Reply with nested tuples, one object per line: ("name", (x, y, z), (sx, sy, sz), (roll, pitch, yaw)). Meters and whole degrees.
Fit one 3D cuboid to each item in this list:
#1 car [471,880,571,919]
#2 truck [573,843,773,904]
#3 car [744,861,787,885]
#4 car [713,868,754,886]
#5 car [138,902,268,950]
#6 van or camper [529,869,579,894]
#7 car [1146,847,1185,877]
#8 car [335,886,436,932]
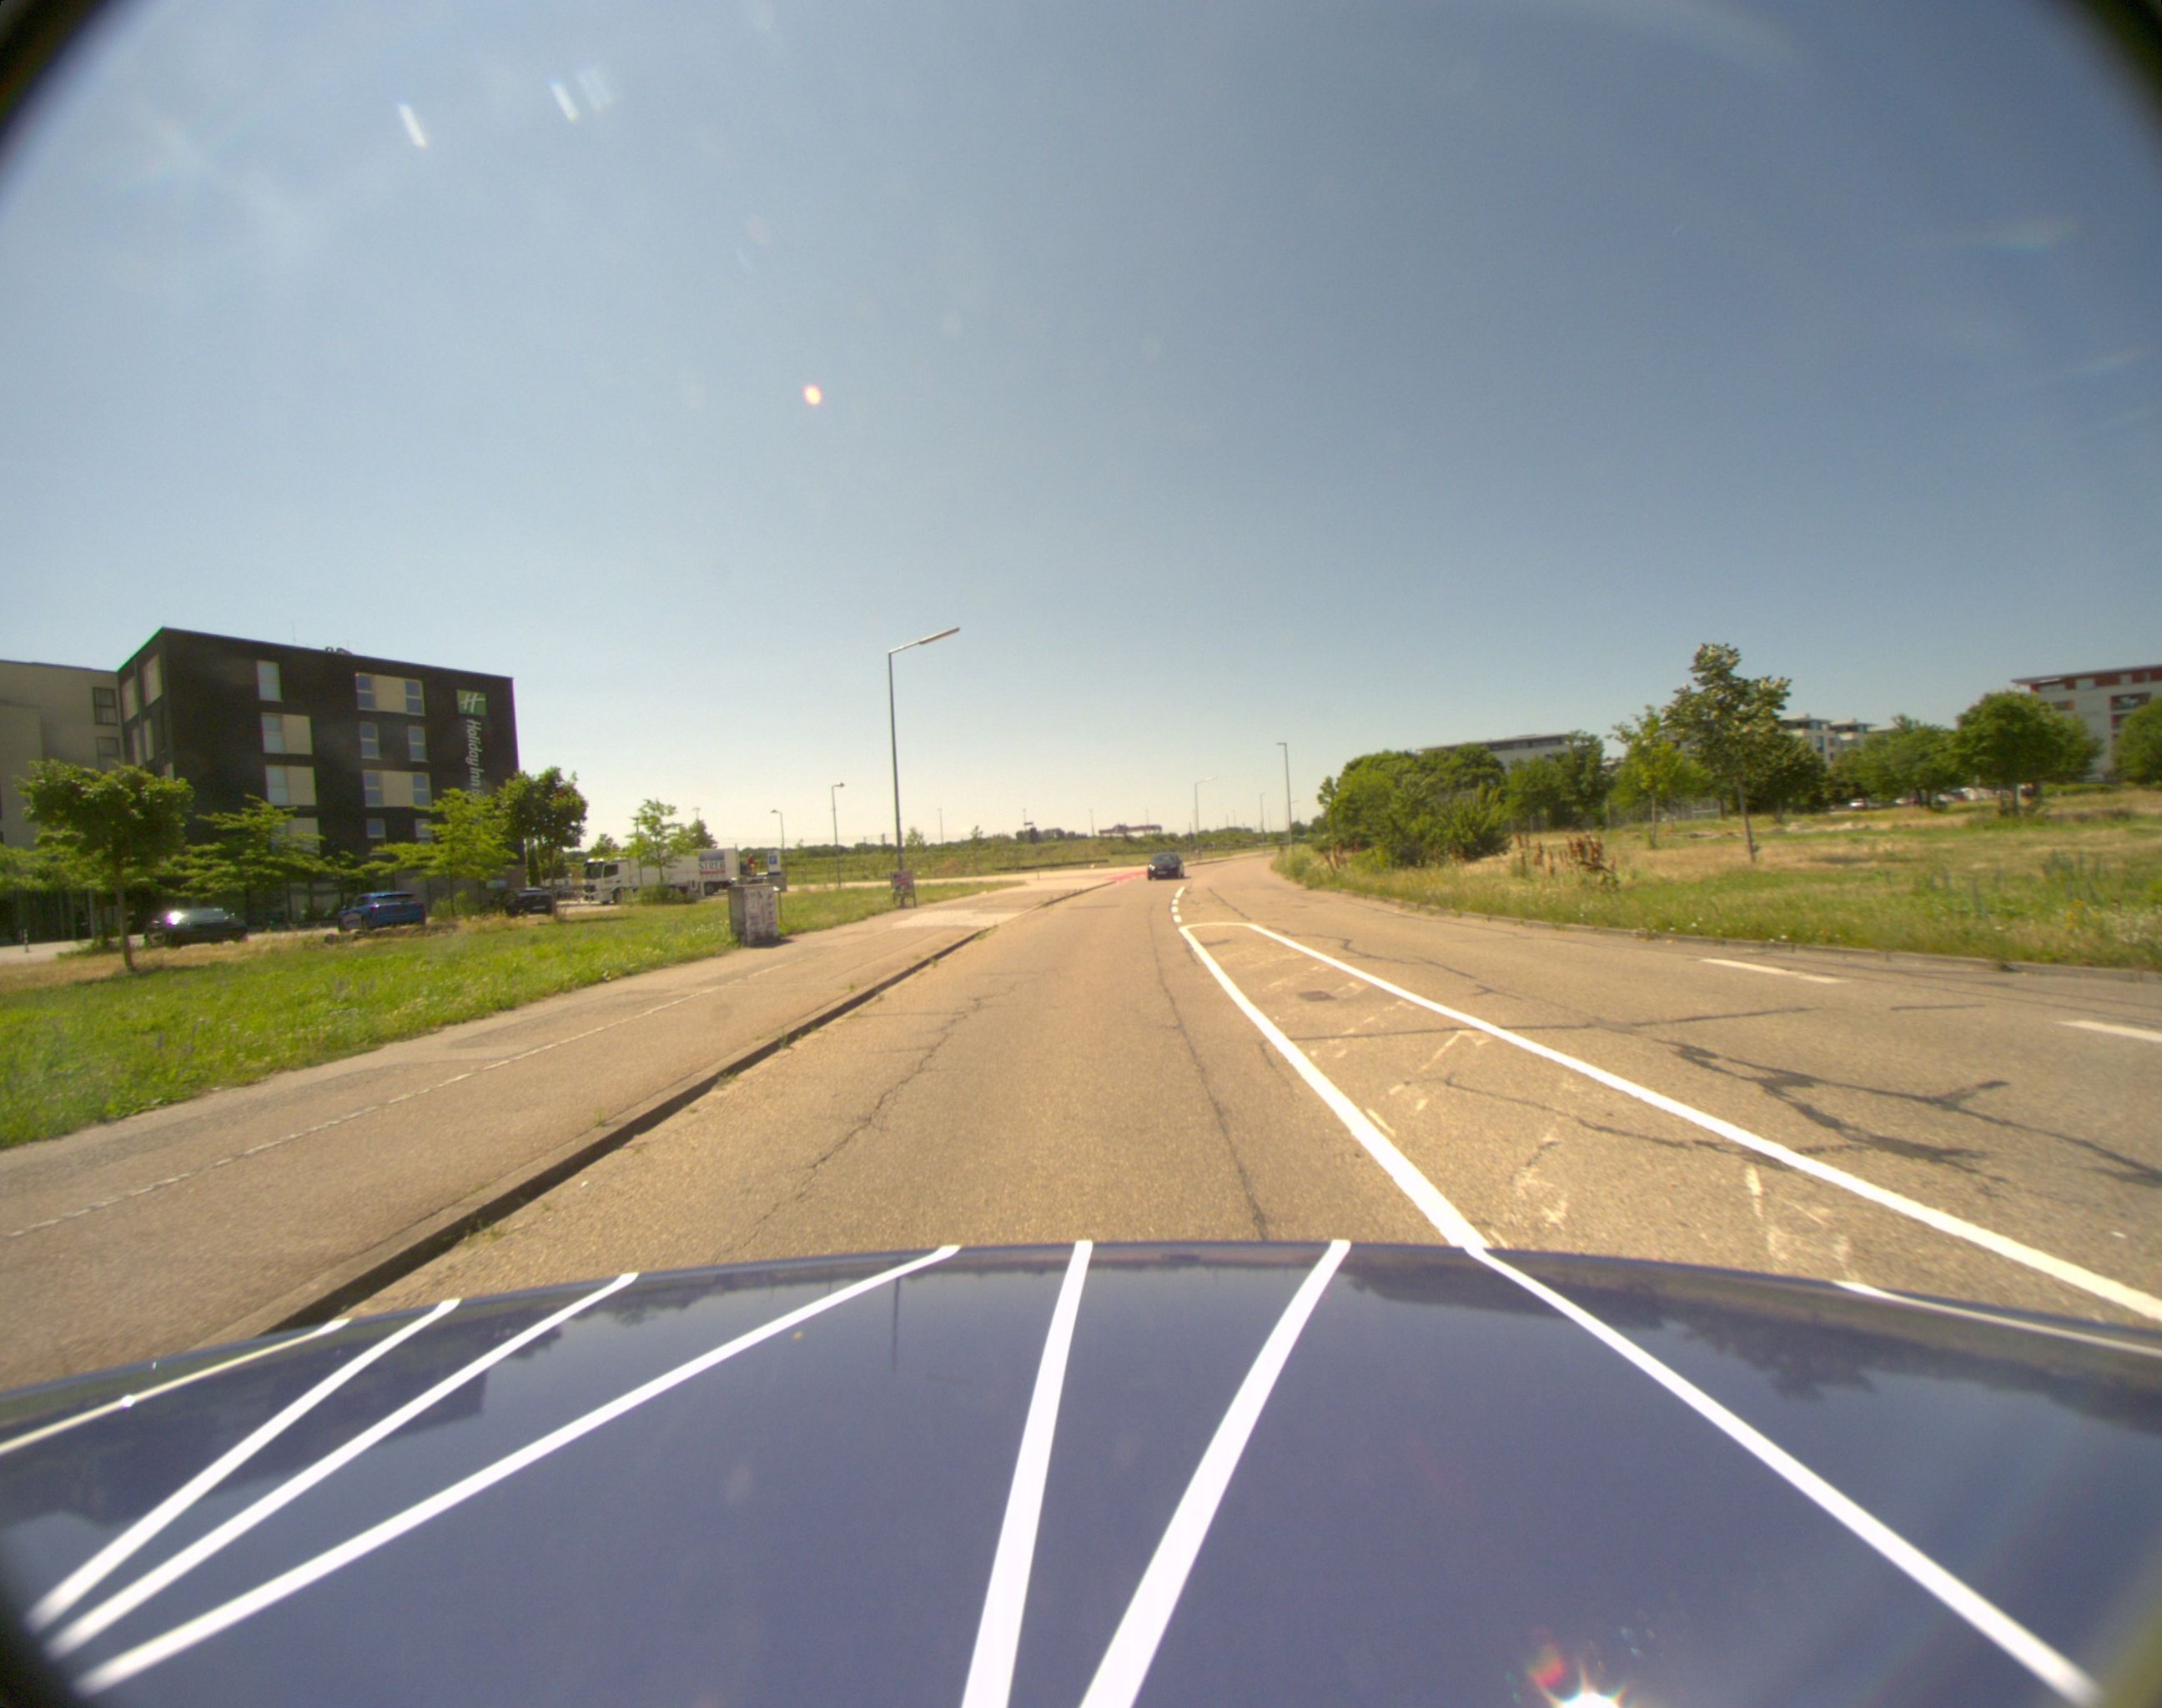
("car", (-25.891, 2.118, 35.114), (4.497, 1.553, 2.035), (-3, 1, 30))
("truck", (-27.942, 1.165, 53.109), (3.010, 3.442, 12.160), (-1, 2, 33))
("car", (-29.953, 1.792, 72.134), (3.906, 2.002, 1.884), (-3, 1, 34))
("car", (-34.332, 2.271, 75.038), (4.034, 1.548, 1.752), (-3, 1, 32))
("car", (-31.449, 2.561, 27.212), (4.117, 1.436, 1.965), (-3, 1, 26))
("van or camper", (-65.428, 3.420, 94.303), (6.409, 2.760, 2.570), (-3, 1, 32))
("car", (4.673, 0.390, 41.740), (1.652, 1.458, 4.163), (-3, 0, 12))
("car", (-28.799, 2.286, 31.440), (4.061, 1.642, 1.958), (-3, 1, 31))
